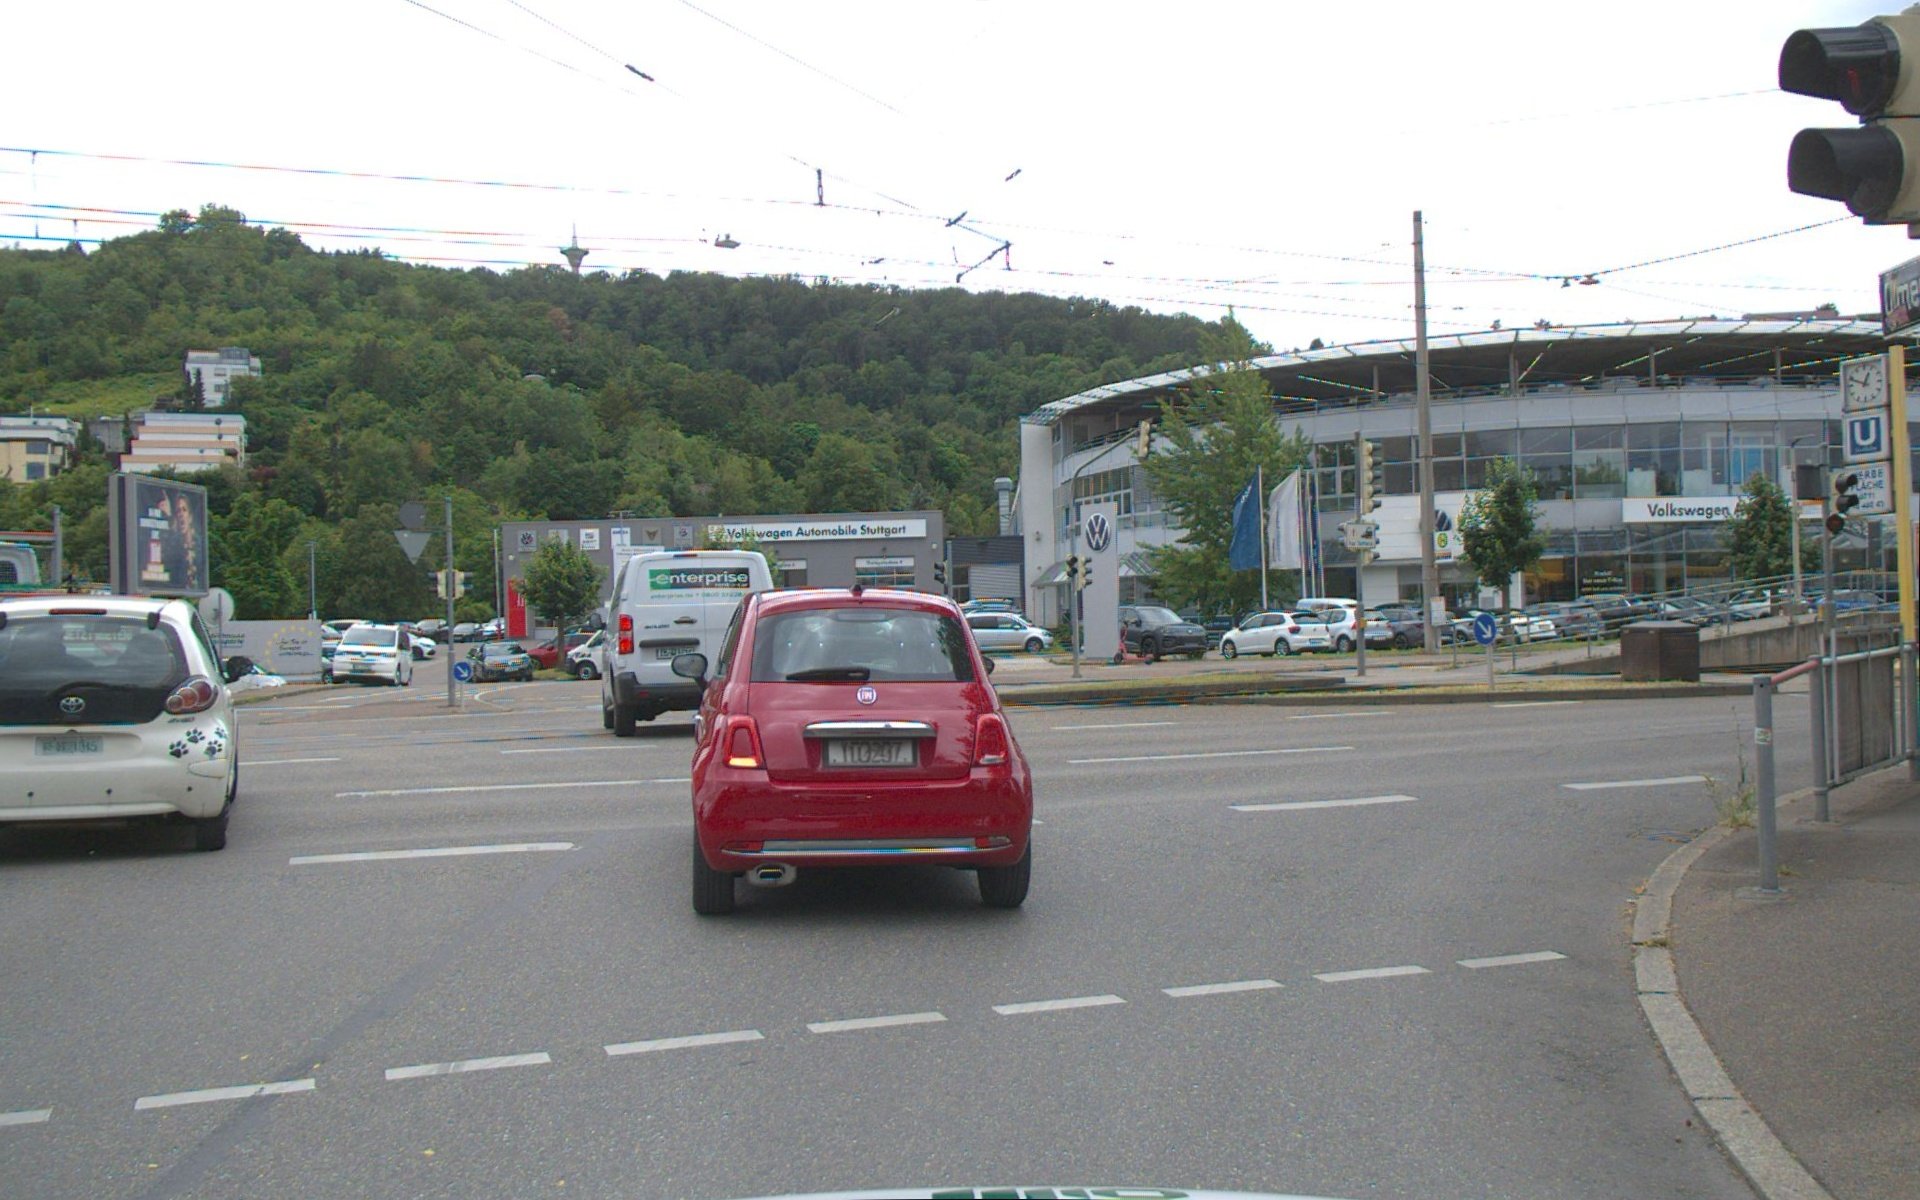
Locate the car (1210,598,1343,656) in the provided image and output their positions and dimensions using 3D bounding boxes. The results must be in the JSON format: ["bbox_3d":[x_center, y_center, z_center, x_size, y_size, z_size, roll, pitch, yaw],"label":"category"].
[{"bbox_3d":[9.927,0.865,52.081,1.973,1.669,3.958,3,-3,-31],"label":"car"}]

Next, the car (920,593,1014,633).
[{"bbox_3d":[0.322,0.644,80.959,4.408,1.759,1.998,2,-2,-5],"label":"car"}]

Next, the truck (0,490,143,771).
[{"bbox_3d":[-10.225,0.401,16.626,2.300,2.464,5.569,1,-3,-41],"label":"truck"}]

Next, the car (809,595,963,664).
[{"bbox_3d":[-2.029,0.795,45.840,3.902,1.668,2.002,2,2,10],"label":"car"}]

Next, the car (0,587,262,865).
[{"bbox_3d":[-5.349,0.654,10.388,1.570,1.445,3.354,-1,1,-20],"label":"car"}]

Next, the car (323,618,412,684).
[{"bbox_3d":[-18.474,1.595,51.748,2.041,1.886,4.889,2,-2,-14],"label":"car"}]

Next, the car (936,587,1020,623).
[{"bbox_3d":[0.978,0.291,90.557,4.408,1.759,1.998,2,-2,-5],"label":"car"}]

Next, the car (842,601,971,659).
[{"bbox_3d":[-1.791,1.021,54.792,3.918,1.736,1.993,2,-2,-13],"label":"car"}]

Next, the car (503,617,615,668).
[{"bbox_3d":[-17.480,1.881,72.298,4.407,2.032,1.998,2,-2,-5],"label":"car"}]

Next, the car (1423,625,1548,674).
[{"bbox_3d":[17.884,1.675,56.460,1.706,1.581,3.958,3,-3,-31],"label":"car"}]

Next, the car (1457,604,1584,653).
[{"bbox_3d":[19.675,1.017,58.181,1.901,1.581,3.958,3,-3,-31],"label":"car"}]

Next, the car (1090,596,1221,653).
[{"bbox_3d":[5.875,0.745,50.194,1.973,1.669,3.958,0,-1,-31],"label":"car"}]

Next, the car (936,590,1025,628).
[{"bbox_3d":[1.045,0.466,85.371,4.408,1.759,1.998,2,-2,-5],"label":"car"}]

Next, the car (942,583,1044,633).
[{"bbox_3d":[1.460,0.388,74.565,4.407,2.032,1.998,2,-2,-5],"label":"car"}]

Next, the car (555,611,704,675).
[{"bbox_3d":[-11.871,1.554,59.599,4.899,2.049,2.000,-2,-2,0],"label":"car"}]

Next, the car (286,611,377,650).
[{"bbox_3d":[-35.712,1.769,94.075,4.415,2.032,1.994,2,-2,-11],"label":"car"}]

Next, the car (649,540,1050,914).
[{"bbox_3d":[-0.678,0.577,9.097,1.665,1.552,3.994,2,-1,-6],"label":"car"}]

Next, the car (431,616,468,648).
[{"bbox_3d":[-35.125,2.225,113.914,1.959,2.032,4.495,2,-2,-13],"label":"car"}]

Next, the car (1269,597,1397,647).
[{"bbox_3d":[11.903,0.721,53.023,1.790,1.503,3.958,3,-3,-31],"label":"car"}]

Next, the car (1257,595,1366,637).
[{"bbox_3d":[14.106,0.661,66.483,1.908,1.581,3.943,4,-3,-39],"label":"car"}]

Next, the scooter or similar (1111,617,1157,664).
[{"bbox_3d":[4.972,1.161,47.205,1.178,1.311,0.574,2,-2,-9],"label":"scooter or similar"}]

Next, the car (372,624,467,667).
[{"bbox_3d":[-27.360,2.323,83.816,4.424,2.032,1.990,3,-2,-17],"label":"car"}]

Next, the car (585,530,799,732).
[{"bbox_3d":[-3.318,0.454,19.695,1.966,2.077,4.810,2,-3,-15],"label":"car"}]

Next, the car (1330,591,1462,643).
[{"bbox_3d":[14.189,0.575,53.988,1.901,1.581,3.958,3,-3,-31],"label":"car"}]

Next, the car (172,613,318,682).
[{"bbox_3d":[-25.292,1.698,58.539,4.451,2.282,1.978,3,-3,-32],"label":"car"}]

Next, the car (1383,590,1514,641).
[{"bbox_3d":[16.273,0.550,55.230,1.901,1.581,3.958,3,-3,-31],"label":"car"}]

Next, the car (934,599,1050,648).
[{"bbox_3d":[1.262,0.944,65.960,4.408,1.759,1.998,2,-2,-5],"label":"car"}]

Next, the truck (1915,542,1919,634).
[{"bbox_3d":[37.308,-0.492,57.398,8.866,3.132,2.681,-1,-1,-26],"label":"truck"}]
